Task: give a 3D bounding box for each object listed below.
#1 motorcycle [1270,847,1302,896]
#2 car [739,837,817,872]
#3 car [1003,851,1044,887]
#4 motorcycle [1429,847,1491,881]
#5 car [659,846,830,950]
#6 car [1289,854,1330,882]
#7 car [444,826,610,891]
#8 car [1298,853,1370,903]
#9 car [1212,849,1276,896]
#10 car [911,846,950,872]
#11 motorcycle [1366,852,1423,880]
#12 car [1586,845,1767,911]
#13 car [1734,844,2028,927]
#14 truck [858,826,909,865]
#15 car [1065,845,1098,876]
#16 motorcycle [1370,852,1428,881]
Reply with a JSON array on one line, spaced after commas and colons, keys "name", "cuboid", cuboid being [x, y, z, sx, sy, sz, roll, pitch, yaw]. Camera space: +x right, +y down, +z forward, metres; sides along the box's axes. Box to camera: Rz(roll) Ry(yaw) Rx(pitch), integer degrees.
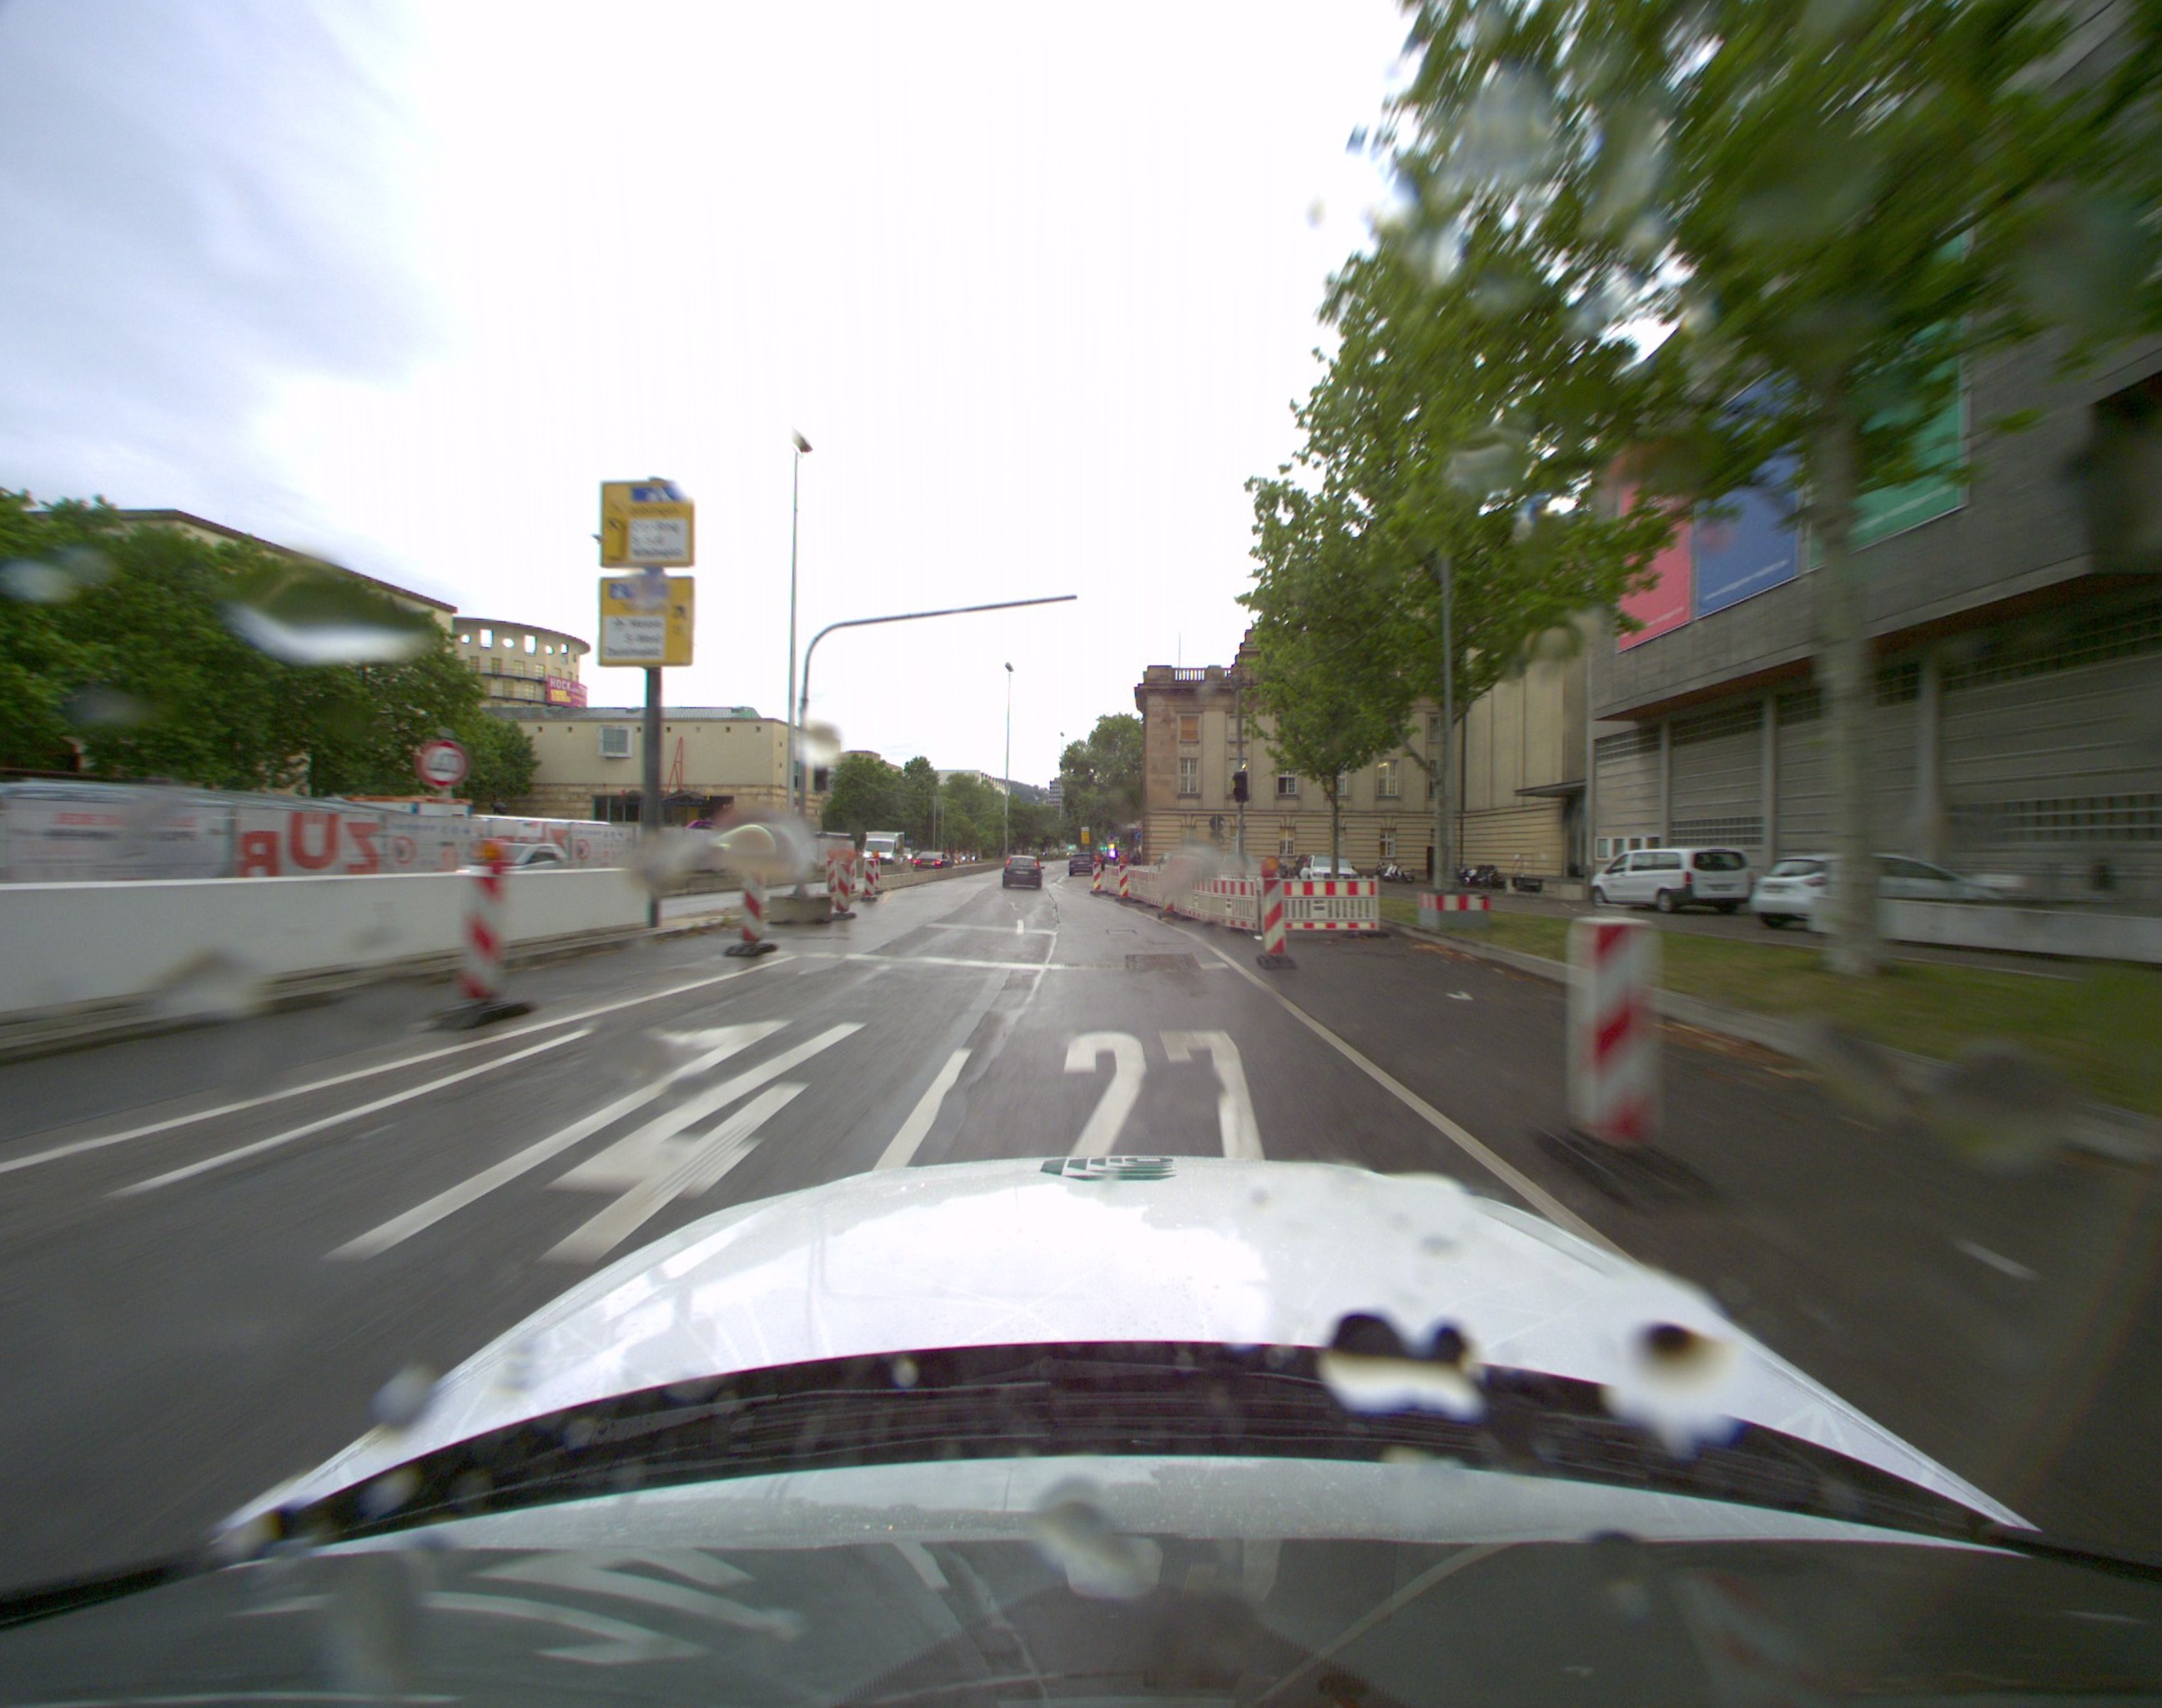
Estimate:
[{"name": "motorcycle", "cuboid": [8.066, 0.661, 32.134, 0.826, 1.830, 3.149, 1, 0, 7]}, {"name": "car", "cuboid": [-14.286, 0.062, 38.664, 1.986, 1.479, 4.001, 3, -1, 2]}, {"name": "car", "cuboid": [-2.532, 0.658, 36.224, 1.666, 1.427, 3.753, 2, -1, -3]}, {"name": "motorcycle", "cuboid": [23.642, 0.638, 50.859, 3.334, 2.014, 1.153, 1, -2, 4]}, {"name": "car", "cuboid": [-5.008, 0.605, 12.515, 1.381, 1.386, 3.065, 0, -1, -1]}, {"name": "car", "cuboid": [14.650, 0.906, 52.424, 1.983, 1.709, 4.008, 2, -1, 7]}, {"name": "car", "cuboid": [-14.994, 0.085, 22.343, 1.662, 1.521, 4.002, 3, 1, 2]}, {"name": "car", "cuboid": [9.829, 0.879, 31.914, 1.983, 1.708, 4.009, 2, 1, 7]}, {"name": "car", "cuboid": [6.641, 0.713, 33.535, 1.985, 1.708, 4.003, 2, 1, 3]}, {"name": "car", "cuboid": [-9.095, 0.275, 49.483, 1.837, 1.410, 3.995, 3, 1, -4]}, {"name": "motorcycle", "cuboid": [19.404, 0.759, 50.464, 3.144, 1.543, 0.891, 3, -2, 7]}, {"name": "car", "cuboid": [17.671, 0.700, 24.564, 1.985, 1.760, 5.101, 1, -1, 4]}, {"name": "car", "cuboid": [16.181, 0.656, 16.670, 3.970, 1.560, 1.934, -1, -3, 3]}, {"name": "truck", "cuboid": [-13.557, -0.522, 56.284, 2.408, 2.339, 5.436, 3, -1, -4]}, {"name": "car", "cuboid": [0.058, 0.401, 56.438, 1.985, 2.013, 4.003, 2, 1, 3]}, {"name": "motorcycle", "cuboid": [19.275, 0.768, 49.441, 3.145, 1.543, 0.891, 3, -2, 5]}]
